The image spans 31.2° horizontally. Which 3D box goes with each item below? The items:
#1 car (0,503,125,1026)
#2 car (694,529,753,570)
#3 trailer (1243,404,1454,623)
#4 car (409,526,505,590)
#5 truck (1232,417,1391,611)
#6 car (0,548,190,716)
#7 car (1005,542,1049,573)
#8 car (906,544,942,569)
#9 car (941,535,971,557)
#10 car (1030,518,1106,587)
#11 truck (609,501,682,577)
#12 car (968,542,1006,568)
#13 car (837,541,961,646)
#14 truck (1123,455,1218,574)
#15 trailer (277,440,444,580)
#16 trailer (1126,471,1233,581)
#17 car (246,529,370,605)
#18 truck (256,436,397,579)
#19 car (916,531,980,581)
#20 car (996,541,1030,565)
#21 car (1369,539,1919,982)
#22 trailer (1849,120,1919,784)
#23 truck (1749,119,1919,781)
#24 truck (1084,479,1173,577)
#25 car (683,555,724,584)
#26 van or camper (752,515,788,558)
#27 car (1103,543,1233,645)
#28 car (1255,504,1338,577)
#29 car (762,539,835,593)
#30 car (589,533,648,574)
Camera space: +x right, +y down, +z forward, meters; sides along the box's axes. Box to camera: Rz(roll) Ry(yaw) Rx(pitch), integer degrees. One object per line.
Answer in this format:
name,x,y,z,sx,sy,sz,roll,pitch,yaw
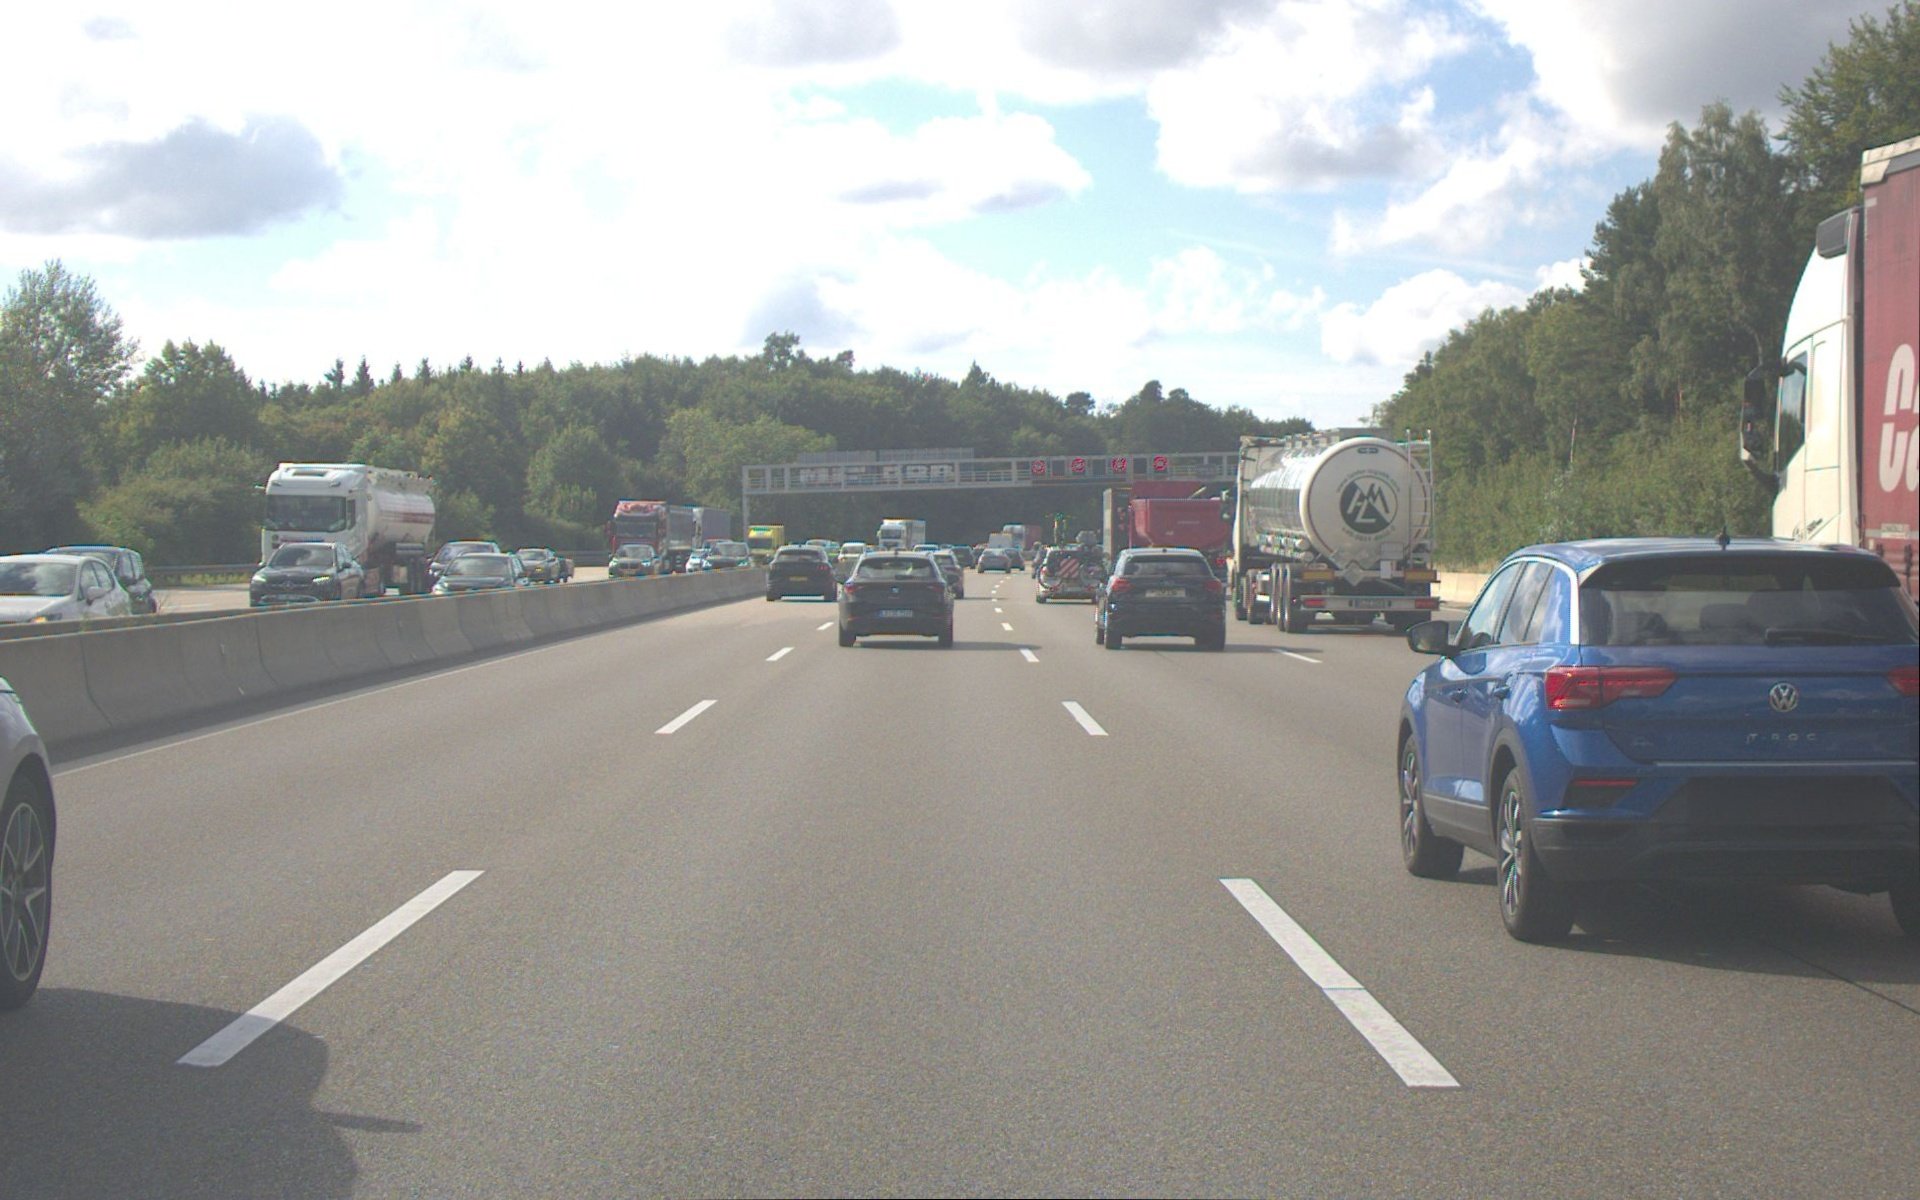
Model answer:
car,-3.944,0.517,9.549,2.006,1.610,5.301,1,1,-1
car,-10.003,-2.156,145.649,2.154,1.694,5.351,-1,1,-1
trailer,7.176,-1.601,65.123,2.649,3.754,11.860,0,1,0
car,-13.801,-1.184,94.641,1.855,1.664,5.211,-1,1,0
truck,7.181,-1.748,70.914,2.649,3.810,6.082,0,1,0
car,-10.935,0.336,41.534,2.171,1.872,4.981,-1,1,-1
car,3.289,-2.122,169.522,1.942,1.452,4.000,-1,1,-1
car,-2.181,-2.656,207.571,2.077,1.452,4.000,-1,1,0
car,-0.301,-3.780,239.158,1.929,1.452,4.392,-1,1,-1
car,2.968,-1.318,95.053,1.893,1.850,4.101,1,1,-1
truck,-16.339,-3.173,178.970,2.967,3.845,6.765,0,1,2
car,1.596,-2.648,202.731,2.077,1.452,4.000,-1,1,-1
car,-0.931,-0.127,52.752,1.822,1.541,4.000,0,1,-1
truck,6.771,-2.790,111.231,2.710,3.706,5.818,1,2,0
trailer,-17.854,-2.661,103.244,2.788,3.932,12.253,0,1,1
trailer,6.741,-2.336,106.606,2.710,3.220,9.733,1,2,0
car,-14.466,-0.759,76.495,1.860,1.614,4.748,0,1,0
truck,-17.940,-2.608,97.727,2.788,3.932,6.446,0,1,1
car,-0.347,-1.351,104.348,1.822,1.452,4.000,-1,1,1
car,3.473,-3.096,225.889,2.077,1.452,4.000,-1,1,-1
car,2.871,0.520,14.237,1.773,1.525,4.458,-1,1,-1
trailer,7.285,-0.793,15.592,2.774,4.031,13.714,0,1,-1
truck,7.221,-0.939,22.355,2.774,4.031,5.774,0,1,-1
truck,7.002,-3.000,144.425,3.118,3.921,10.412,-1,1,0
car,-12.959,-1.555,173.811,1.603,1.398,4.000,2,1,2
van or camper,-13.165,-4.428,238.053,2.373,2.882,6.507,-1,1,-3
car,3.111,-0.122,52.069,1.822,1.452,4.000,-1,1,2
car,9.288,-1.646,95.098,1.893,1.950,4.100,1,1,0
car,-4.593,-0.991,98.025,1.942,1.452,4.000,-1,1,-1
car,-14.303,-1.950,144.152,1.994,1.658,4.687,-1,1,-1
